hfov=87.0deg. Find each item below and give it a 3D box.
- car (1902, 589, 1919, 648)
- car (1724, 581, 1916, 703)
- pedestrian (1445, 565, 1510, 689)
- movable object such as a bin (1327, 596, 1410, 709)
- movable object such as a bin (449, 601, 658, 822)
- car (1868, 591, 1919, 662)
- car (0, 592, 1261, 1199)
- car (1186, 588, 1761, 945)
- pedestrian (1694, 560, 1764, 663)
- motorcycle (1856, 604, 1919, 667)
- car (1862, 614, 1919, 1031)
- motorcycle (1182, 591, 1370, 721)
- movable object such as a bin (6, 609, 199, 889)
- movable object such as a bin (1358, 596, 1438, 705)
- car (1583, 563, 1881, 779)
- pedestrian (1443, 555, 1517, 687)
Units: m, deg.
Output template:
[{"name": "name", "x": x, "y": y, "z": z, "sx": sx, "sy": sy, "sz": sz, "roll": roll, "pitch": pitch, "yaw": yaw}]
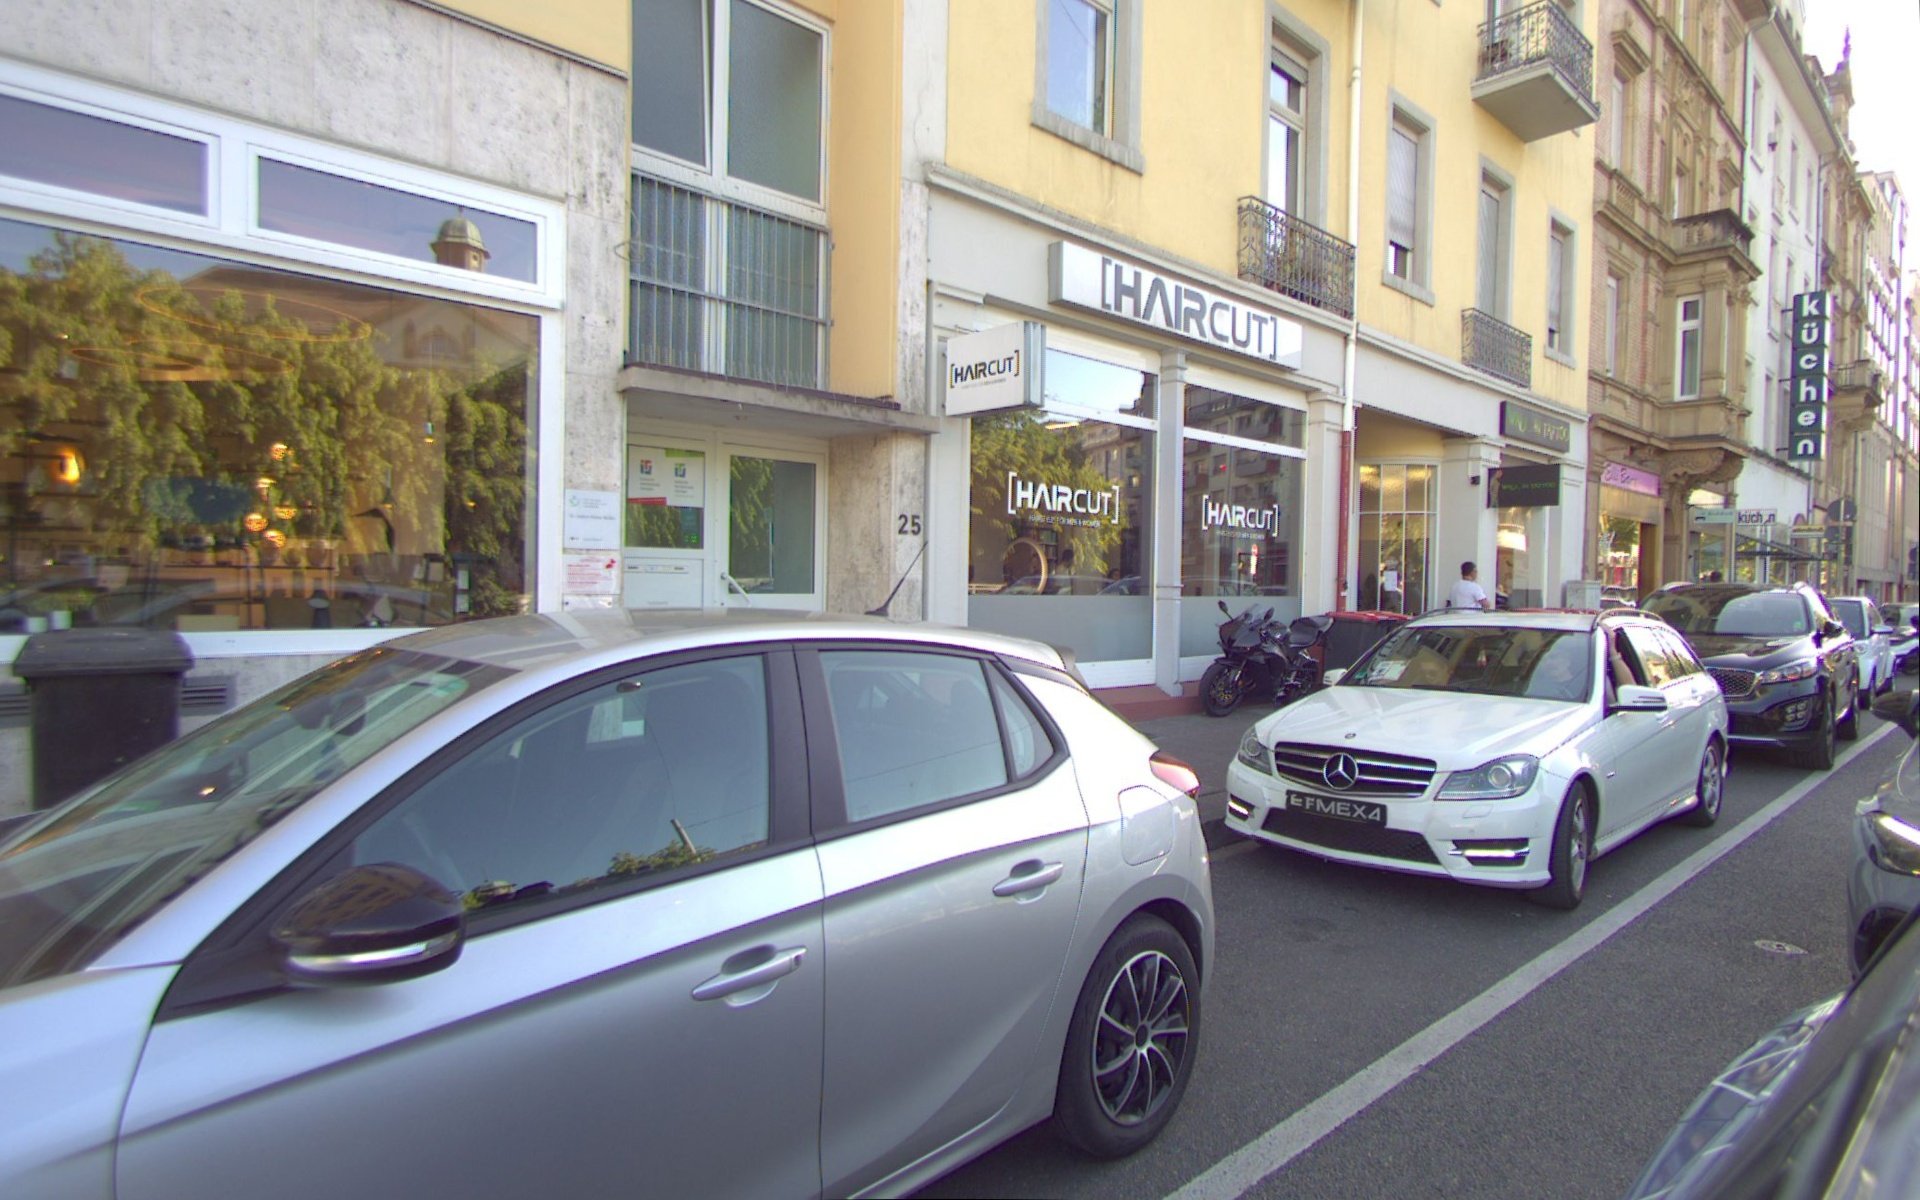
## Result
[{"name": "car", "x": 26.405, "y": 0.484, "z": 26.864, "sx": 3.931, "sy": 1.504, "sz": 1.713, "roll": 0, "pitch": 1, "yaw": -42}, {"name": "car", "x": 12.689, "y": 0.531, "z": 14.894, "sx": 2.965, "sy": 1.587, "sz": 1.695, "roll": 0, "pitch": 1, "yaw": -40}, {"name": "pedestrian", "x": 7.003, "y": 0.349, "z": 13.699, "sx": 0.631, "sy": 1.637, "sz": 0.572, "roll": 0, "pitch": 0, "yaw": -40}, {"name": "movable object such as a bin", "x": 4.640, "y": 0.573, "z": 11.503, "sx": 0.633, "sy": 1.222, "sz": 0.647, "roll": 0, "pitch": 0, "yaw": -40}, {"name": "movable object such as a bin", "x": -2.230, "y": 0.549, "z": 5.553, "sx": 0.878, "sy": 1.066, "sz": 0.752, "roll": 0, "pitch": 1, "yaw": -40}, {"name": "car", "x": 22.165, "y": 0.567, "z": 23.122, "sx": 3.931, "sy": 1.504, "sz": 1.713, "roll": 0, "pitch": 1, "yaw": -42}, {"name": "car", "x": -1.028, "y": 0.701, "z": 2.322, "sx": 3.642, "sy": 1.415, "sz": 1.652, "roll": 0, "pitch": 1, "yaw": -42}, {"name": "car", "x": 3.497, "y": 0.679, "z": 6.416, "sx": 4.519, "sy": 1.480, "sz": 1.757, "roll": 0, "pitch": 1, "yaw": -42}, {"name": "pedestrian", "x": 12.613, "y": 0.179, "z": 16.597, "sx": 0.750, "sy": 1.637, "sz": 0.794, "roll": 0, "pitch": 1, "yaw": -43}, {"name": "motorcycle", "x": 19.292, "y": 0.710, "z": 20.521, "sx": 1.514, "sy": 1.248, "sz": 0.771, "roll": 1, "pitch": 0, "yaw": 1}, {"name": "car", "x": 5.346, "y": 0.776, "z": 4.297, "sx": 4.183, "sy": 1.396, "sz": 1.846, "roll": 0, "pitch": 1, "yaw": -42}, {"name": "motorcycle", "x": 3.325, "y": 0.524, "z": 10.530, "sx": 2.208, "sy": 1.179, "sz": 0.773, "roll": 0, "pitch": 4, "yaw": -41}, {"name": "movable object such as a bin", "x": -3.686, "y": 0.575, "z": 4.377, "sx": 0.591, "sy": 1.041, "sz": 0.812, "roll": 0, "pitch": 1, "yaw": -40}, {"name": "movable object such as a bin", "x": 5.150, "y": 0.567, "z": 11.892, "sx": 0.633, "sy": 1.222, "sz": 0.647, "roll": 0, "pitch": 0, "yaw": -40}, {"name": "car", "x": 8.051, "y": 0.536, "z": 10.366, "sx": 1.853, "sy": 1.719, "sz": 4.623, "roll": 1, "pitch": 1, "yaw": 45}, {"name": "pedestrian", "x": 6.681, "y": 0.248, "z": 13.005, "sx": 0.689, "sy": 1.637, "sz": 0.641, "roll": 0, "pitch": 0, "yaw": -42}]
